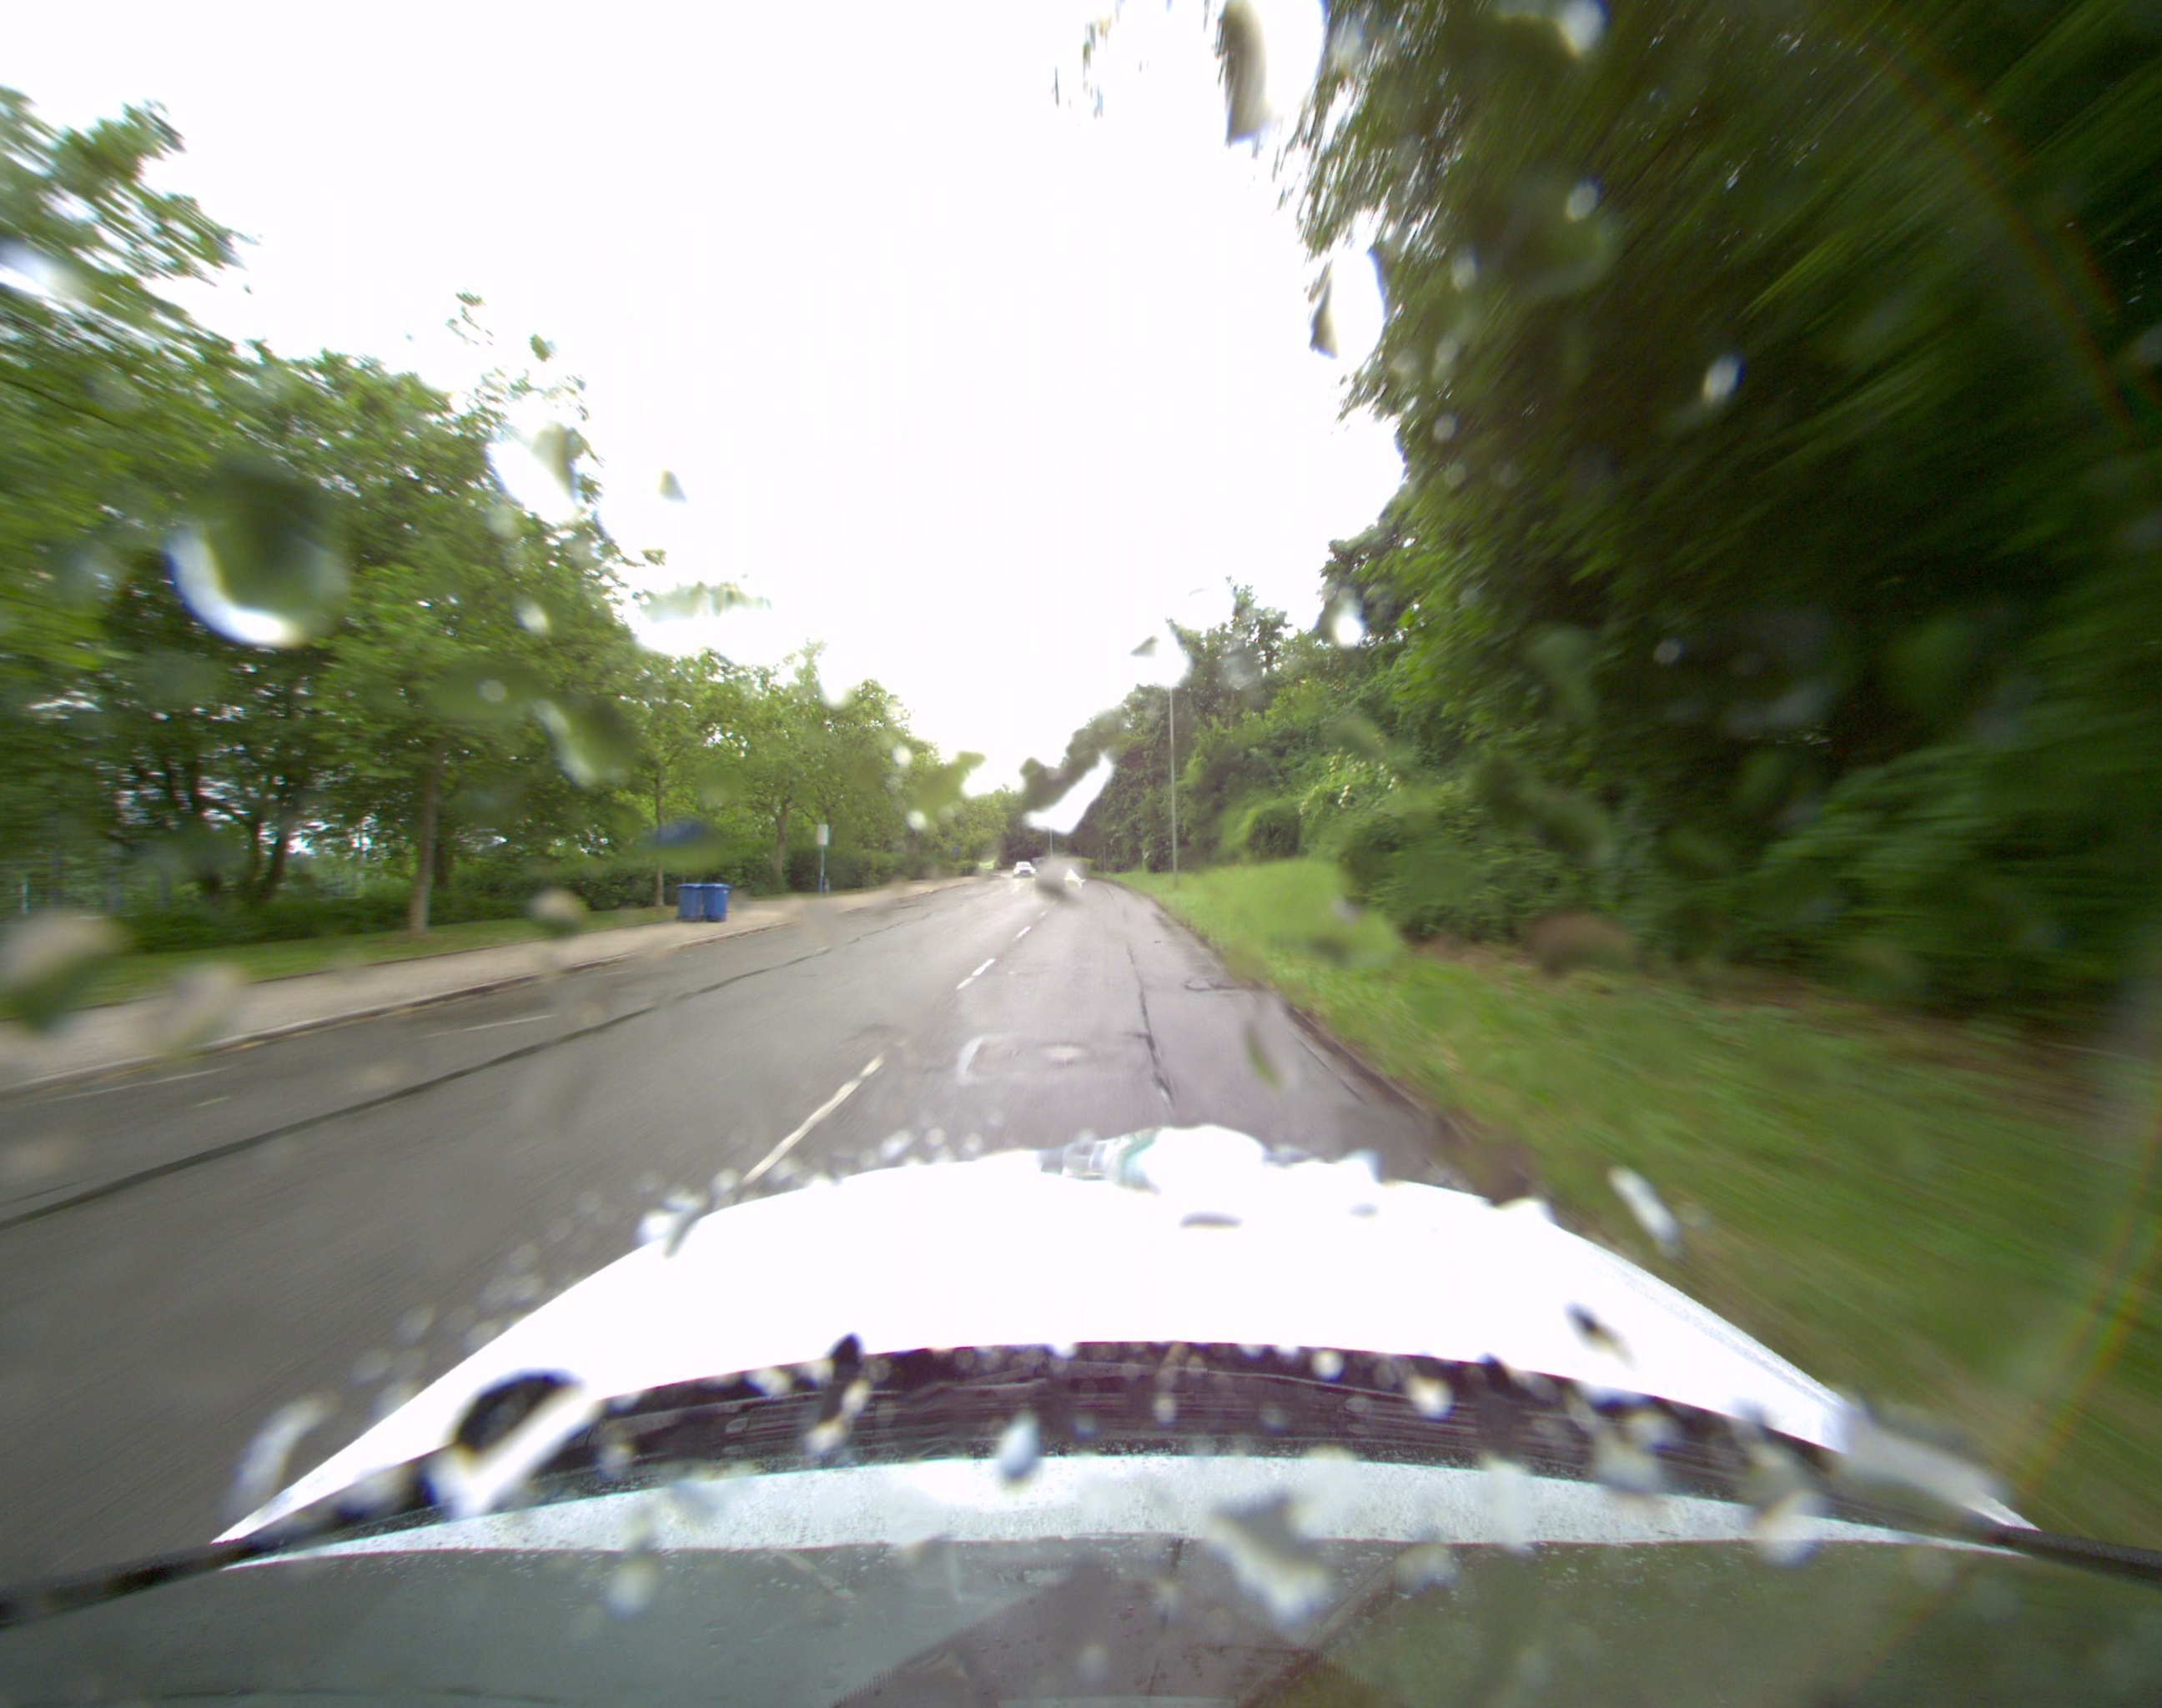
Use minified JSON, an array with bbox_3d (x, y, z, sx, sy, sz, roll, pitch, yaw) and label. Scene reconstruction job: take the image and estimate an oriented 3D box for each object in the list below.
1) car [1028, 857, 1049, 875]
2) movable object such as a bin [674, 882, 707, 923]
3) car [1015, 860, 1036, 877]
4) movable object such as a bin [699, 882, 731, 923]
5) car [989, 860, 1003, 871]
[{"bbox_3d":[-4.994,1.365,94.472,1.985,1.926,3.986,-1,0,-10],"label":"car"},{"bbox_3d":[-10.935,1.350,22.810,0.564,1.098,0.672,1,-1,3],"label":"movable object such as a bin"},{"bbox_3d":[-5.072,1.320,74.560,1.822,1.465,3.995,-2,-1,-3],"label":"car"},{"bbox_3d":[-10.328,1.351,22.988,0.564,1.098,0.672,1,-1,3],"label":"movable object such as a bin"},{"bbox_3d":[-14.129,1.851,135.749,1.994,1.816,3.985,0,-1,-11],"label":"car"}]
